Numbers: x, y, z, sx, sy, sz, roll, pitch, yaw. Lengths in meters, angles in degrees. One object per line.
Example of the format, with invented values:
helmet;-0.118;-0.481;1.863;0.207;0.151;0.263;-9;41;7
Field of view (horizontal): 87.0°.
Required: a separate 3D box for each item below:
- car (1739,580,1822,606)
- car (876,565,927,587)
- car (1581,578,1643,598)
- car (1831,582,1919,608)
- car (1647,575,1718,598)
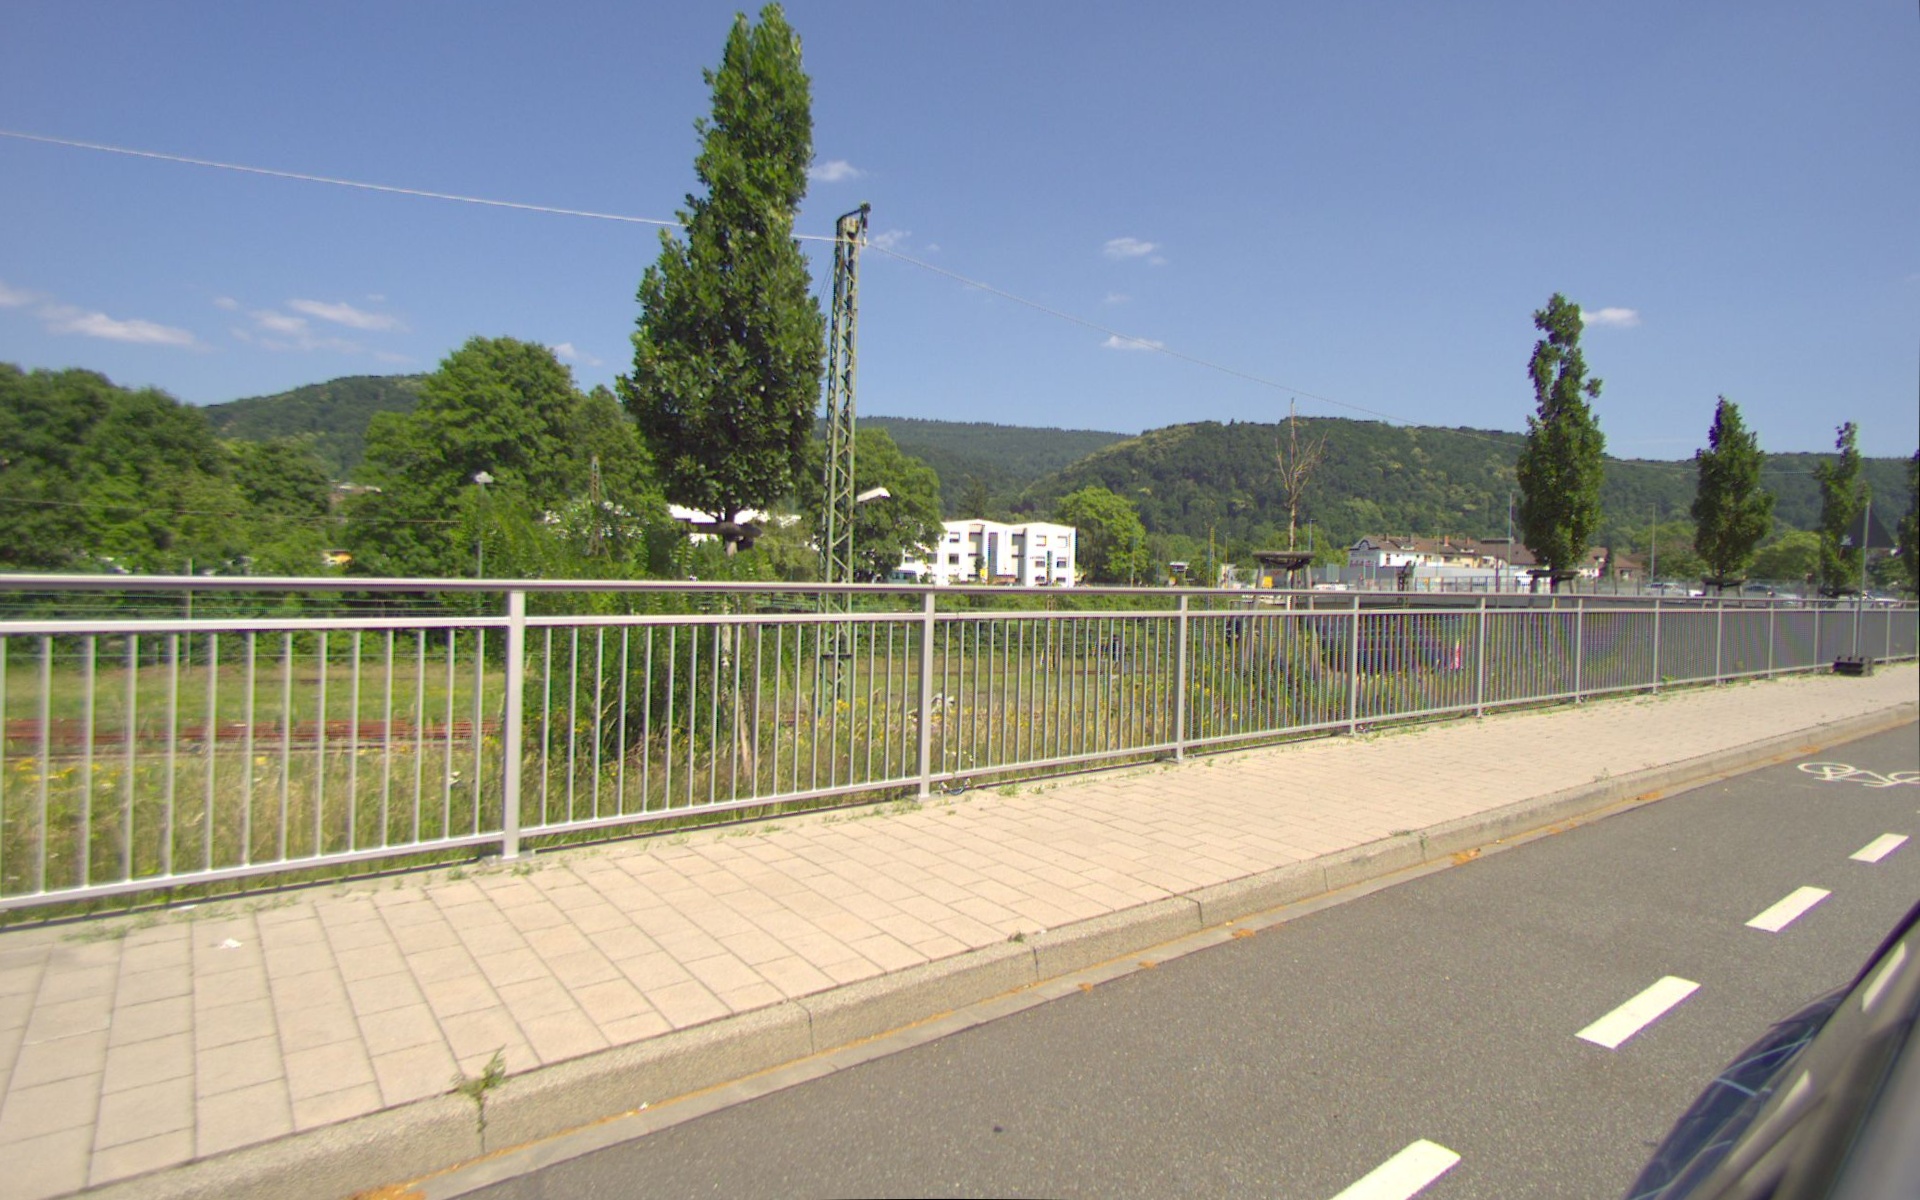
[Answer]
car;59.142;-0.555;73.048;1.700;1.646;4.454;1;2;-15
car;-6.047;-2.502;105.534;4.890;2.139;2.003;1;1;-30
car;55.789;-1.067;86.684;1.700;1.647;4.452;1;1;-17
car;60.192;-0.369;66.347;1.700;1.487;4.422;1;2;-15
car;57.408;-1.072;80.460;1.700;1.646;4.454;1;2;-15
